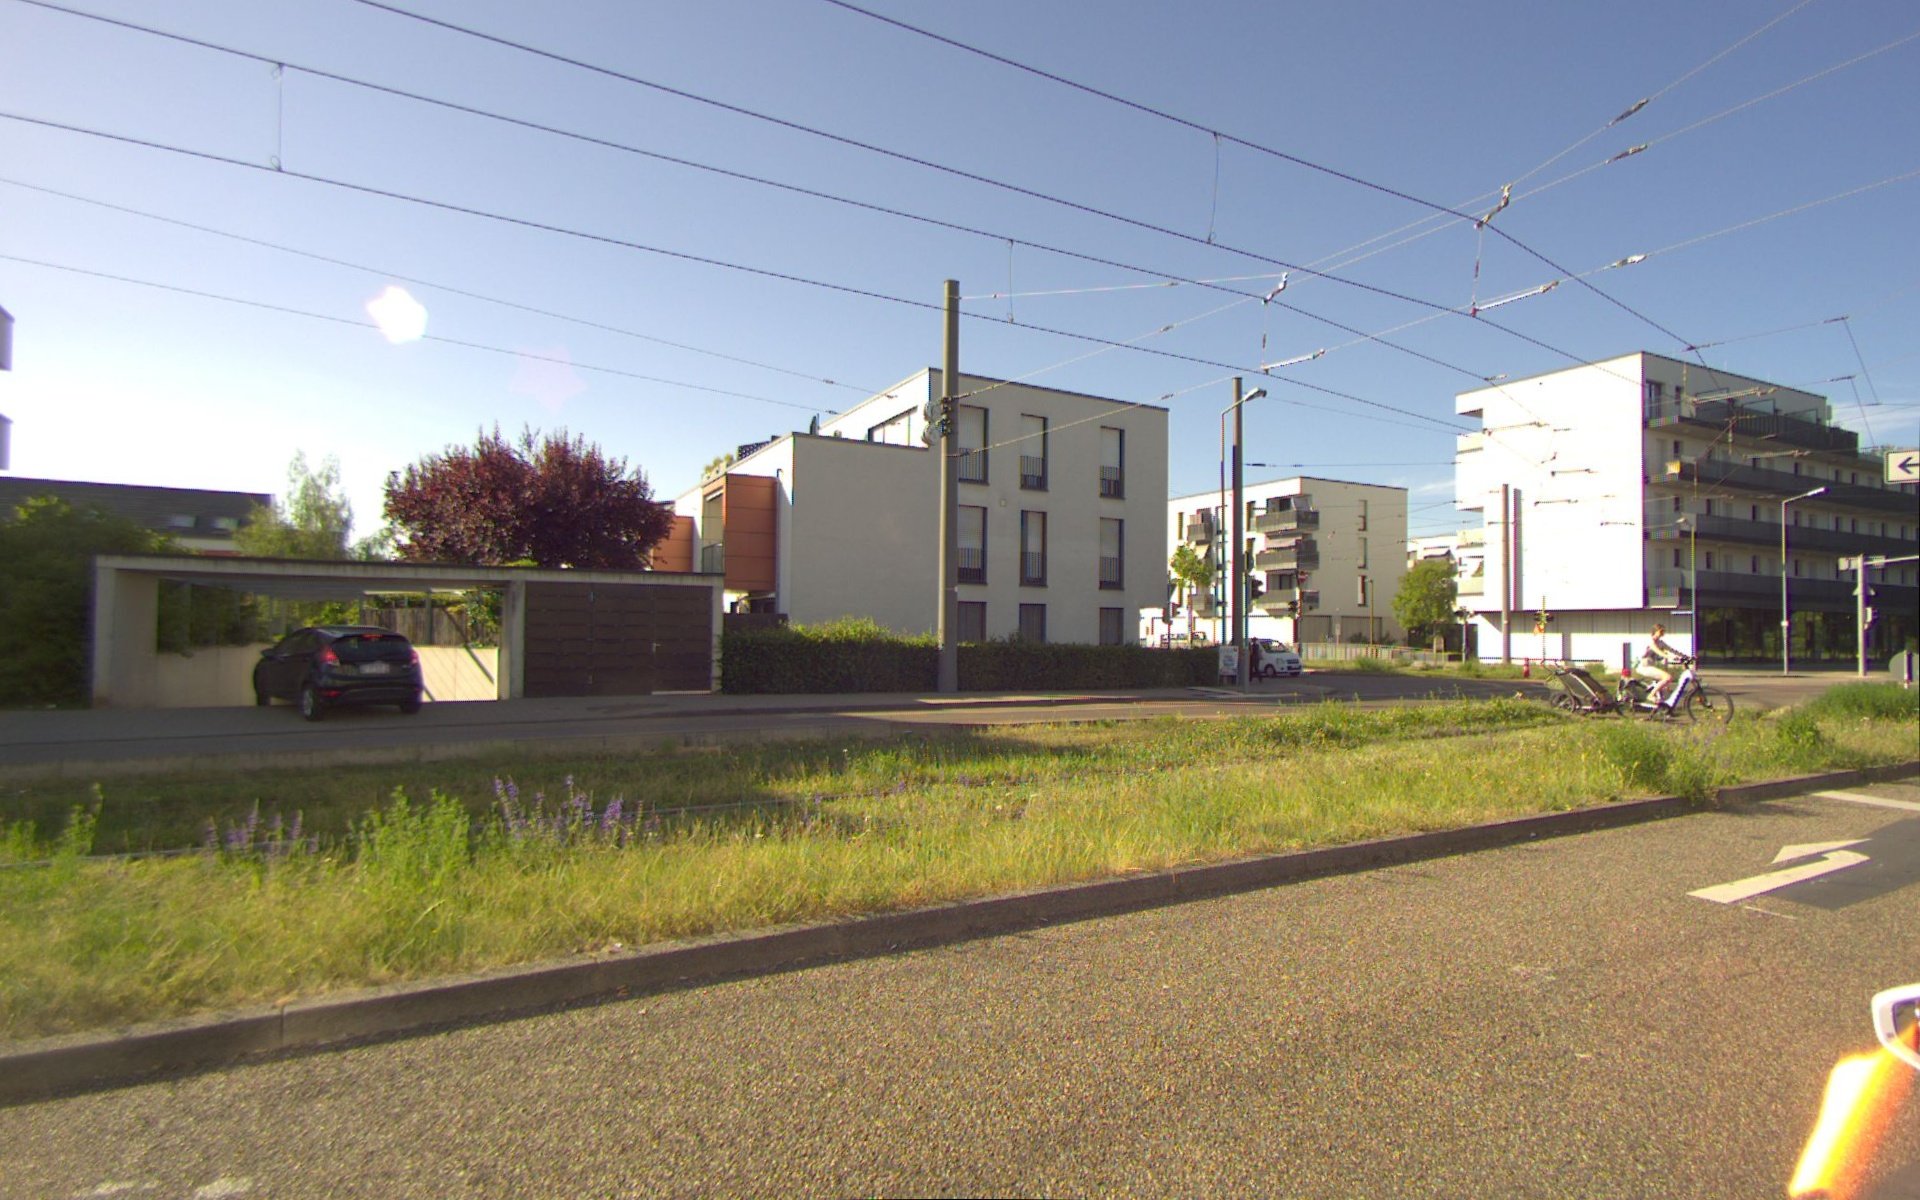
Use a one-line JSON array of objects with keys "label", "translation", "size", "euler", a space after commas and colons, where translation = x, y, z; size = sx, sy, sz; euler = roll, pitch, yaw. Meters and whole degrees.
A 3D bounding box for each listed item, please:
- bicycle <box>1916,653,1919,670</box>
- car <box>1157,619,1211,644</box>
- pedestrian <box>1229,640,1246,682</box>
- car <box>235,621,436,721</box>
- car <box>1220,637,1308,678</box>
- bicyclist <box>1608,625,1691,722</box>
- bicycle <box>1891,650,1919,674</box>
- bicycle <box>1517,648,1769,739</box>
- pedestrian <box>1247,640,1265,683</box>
[{"label": "bicycle", "translation": [50.282, 3.195, 51.968], "size": [2.051, 0.860, 0.494], "euler": [1, 0, -26]}, {"label": "car", "translation": [17.851, 2.486, 80.132], "size": [1.977, 1.862, 3.967], "euler": [1, 0, -31]}, {"label": "pedestrian", "translation": [10.054, 2.203, 36.406], "size": [0.548, 1.483, 0.742], "euler": [1, 0, 19]}, {"label": "car", "translation": [-10.739, 1.162, 17.208], "size": [3.681, 1.449, 1.702], "euler": [1, -3, 38]}, {"label": "car", "translation": [12.998, 2.463, 43.123], "size": [1.574, 1.674, 3.475], "euler": [1, -3, -30]}, {"label": "bicyclist", "translation": [12.306, 1.279, 17.932], "size": [0.965, 1.651, 0.905], "euler": [1, 0, -31]}, {"label": "bicycle", "translation": [46.394, 2.997, 48.634], "size": [1.800, 1.099, 0.969], "euler": [1, 0, -6]}, {"label": "bicycle", "translation": [12.172, 1.609, 18.137], "size": [0.988, 1.190, 3.664], "euler": [1, 1, -31]}, {"label": "pedestrian", "translation": [10.663, 2.207, 36.202], "size": [0.548, 1.483, 0.611], "euler": [1, 0, 23]}]
